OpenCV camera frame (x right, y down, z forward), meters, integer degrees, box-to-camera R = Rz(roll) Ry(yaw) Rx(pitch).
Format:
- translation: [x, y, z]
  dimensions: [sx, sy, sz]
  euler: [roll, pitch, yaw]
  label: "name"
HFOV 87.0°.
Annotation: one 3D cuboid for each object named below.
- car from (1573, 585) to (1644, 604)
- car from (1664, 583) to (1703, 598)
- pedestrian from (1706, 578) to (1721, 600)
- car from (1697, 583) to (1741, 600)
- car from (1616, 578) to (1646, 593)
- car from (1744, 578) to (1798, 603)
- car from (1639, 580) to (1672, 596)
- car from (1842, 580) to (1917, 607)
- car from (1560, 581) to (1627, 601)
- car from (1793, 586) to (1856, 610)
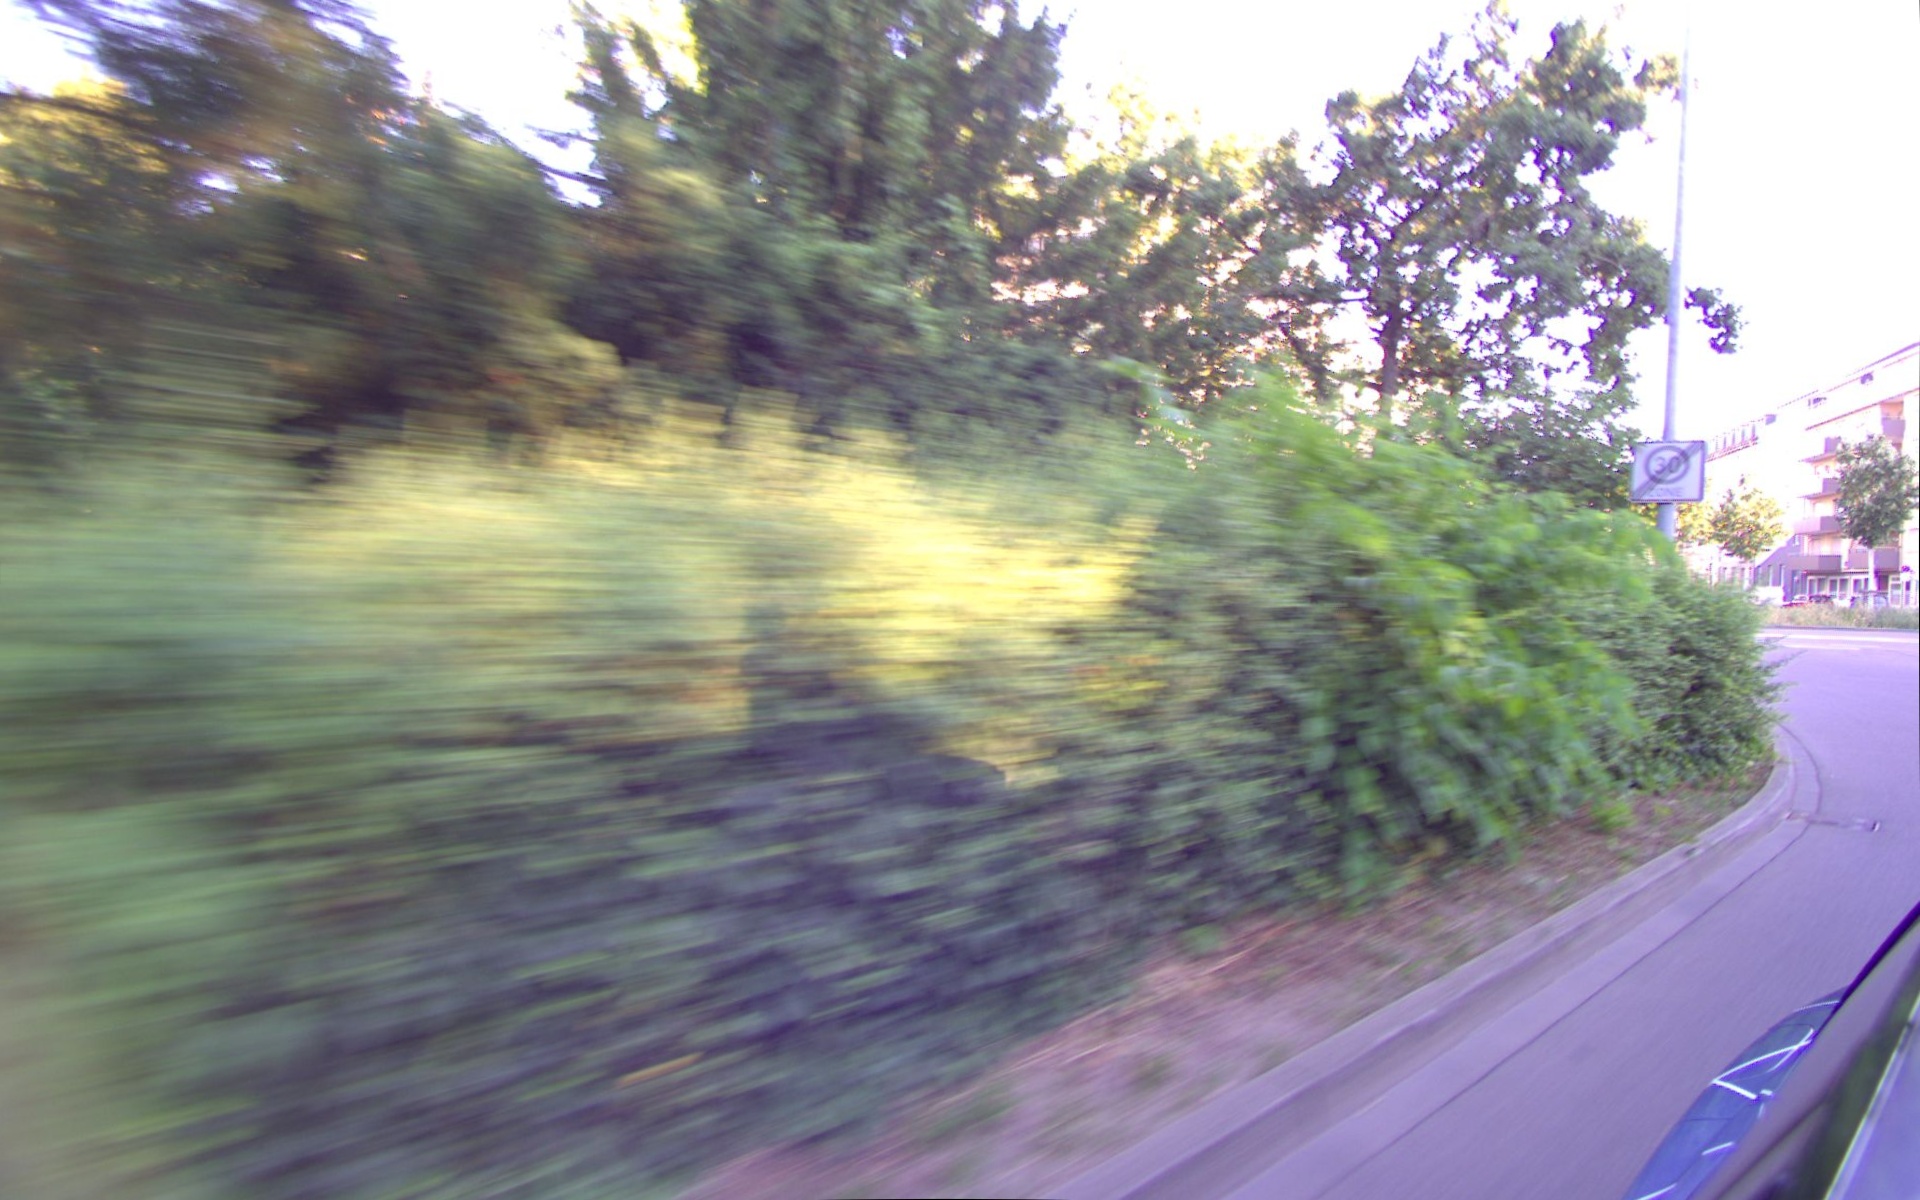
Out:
- translation: [53.341, -0.498, 83.292]
  dimensions: [4.592, 1.415, 1.985]
  euler: [2, 2, 23]
  label: "car"
- translation: [67.996, -0.922, 95.188]
  dimensions: [1.976, 1.259, 3.972]
  euler: [2, 2, 21]
  label: "car"
- translation: [72.740, -1.072, 97.709]
  dimensions: [0.881, 2.038, 0.765]
  euler: [2, 1, 22]
  label: "pedestrian"
- translation: [64.390, -0.731, 85.948]
  dimensions: [1.976, 1.259, 3.972]
  euler: [2, 2, 21]
  label: "car"
- translation: [74.515, -1.597, 112.462]
  dimensions: [1.976, 1.549, 3.972]
  euler: [2, 2, 21]
  label: "car"
- translation: [61.077, -0.731, 76.275]
  dimensions: [1.976, 1.771, 3.972]
  euler: [2, 2, 21]
  label: "car"
- translation: [72.081, -1.275, 104.940]
  dimensions: [1.976, 1.549, 3.972]
  euler: [2, 2, 21]
  label: "car"
- translation: [55.109, -0.430, 60.724]
  dimensions: [1.976, 1.504, 3.972]
  euler: [2, 2, 21]
  label: "car"
- translation: [55.094, -0.822, 88.148]
  dimensions: [4.592, 1.579, 1.985]
  euler: [2, 2, 23]
  label: "car"
- translation: [58.270, -0.164, 68.324]
  dimensions: [1.976, 1.504, 3.972]
  euler: [2, 2, 21]
  label: "car"
